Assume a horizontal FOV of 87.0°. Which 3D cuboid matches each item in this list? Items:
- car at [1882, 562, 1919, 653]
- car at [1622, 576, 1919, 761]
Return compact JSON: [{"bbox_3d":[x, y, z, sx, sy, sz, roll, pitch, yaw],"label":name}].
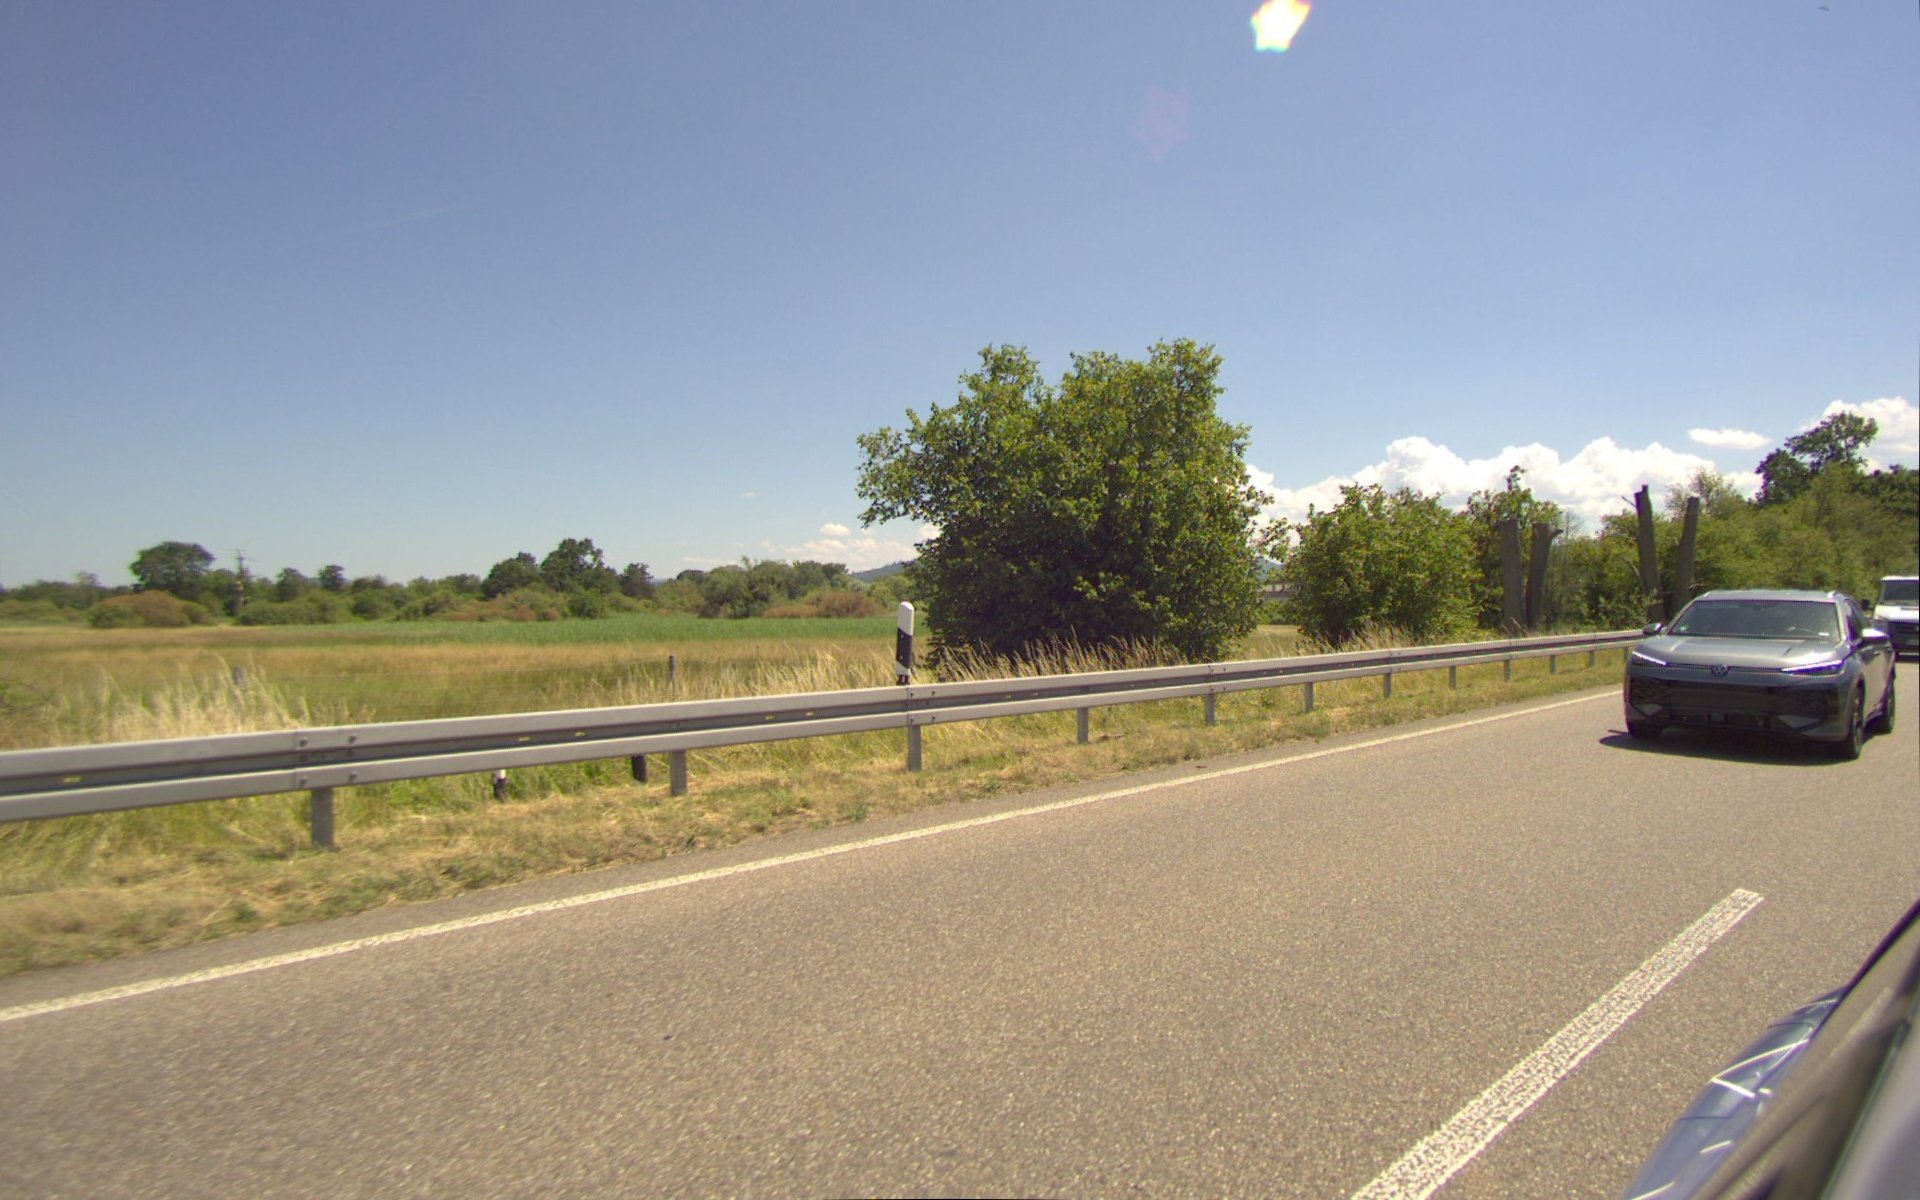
[{"bbox_3d":[23.300,0.190,23.713,4.947,2.014,2.009,1,-1,-42],"label":"car"},{"bbox_3d":[8.593,0.579,10.599,3.949,1.573,1.788,1,1,-42],"label":"car"}]
